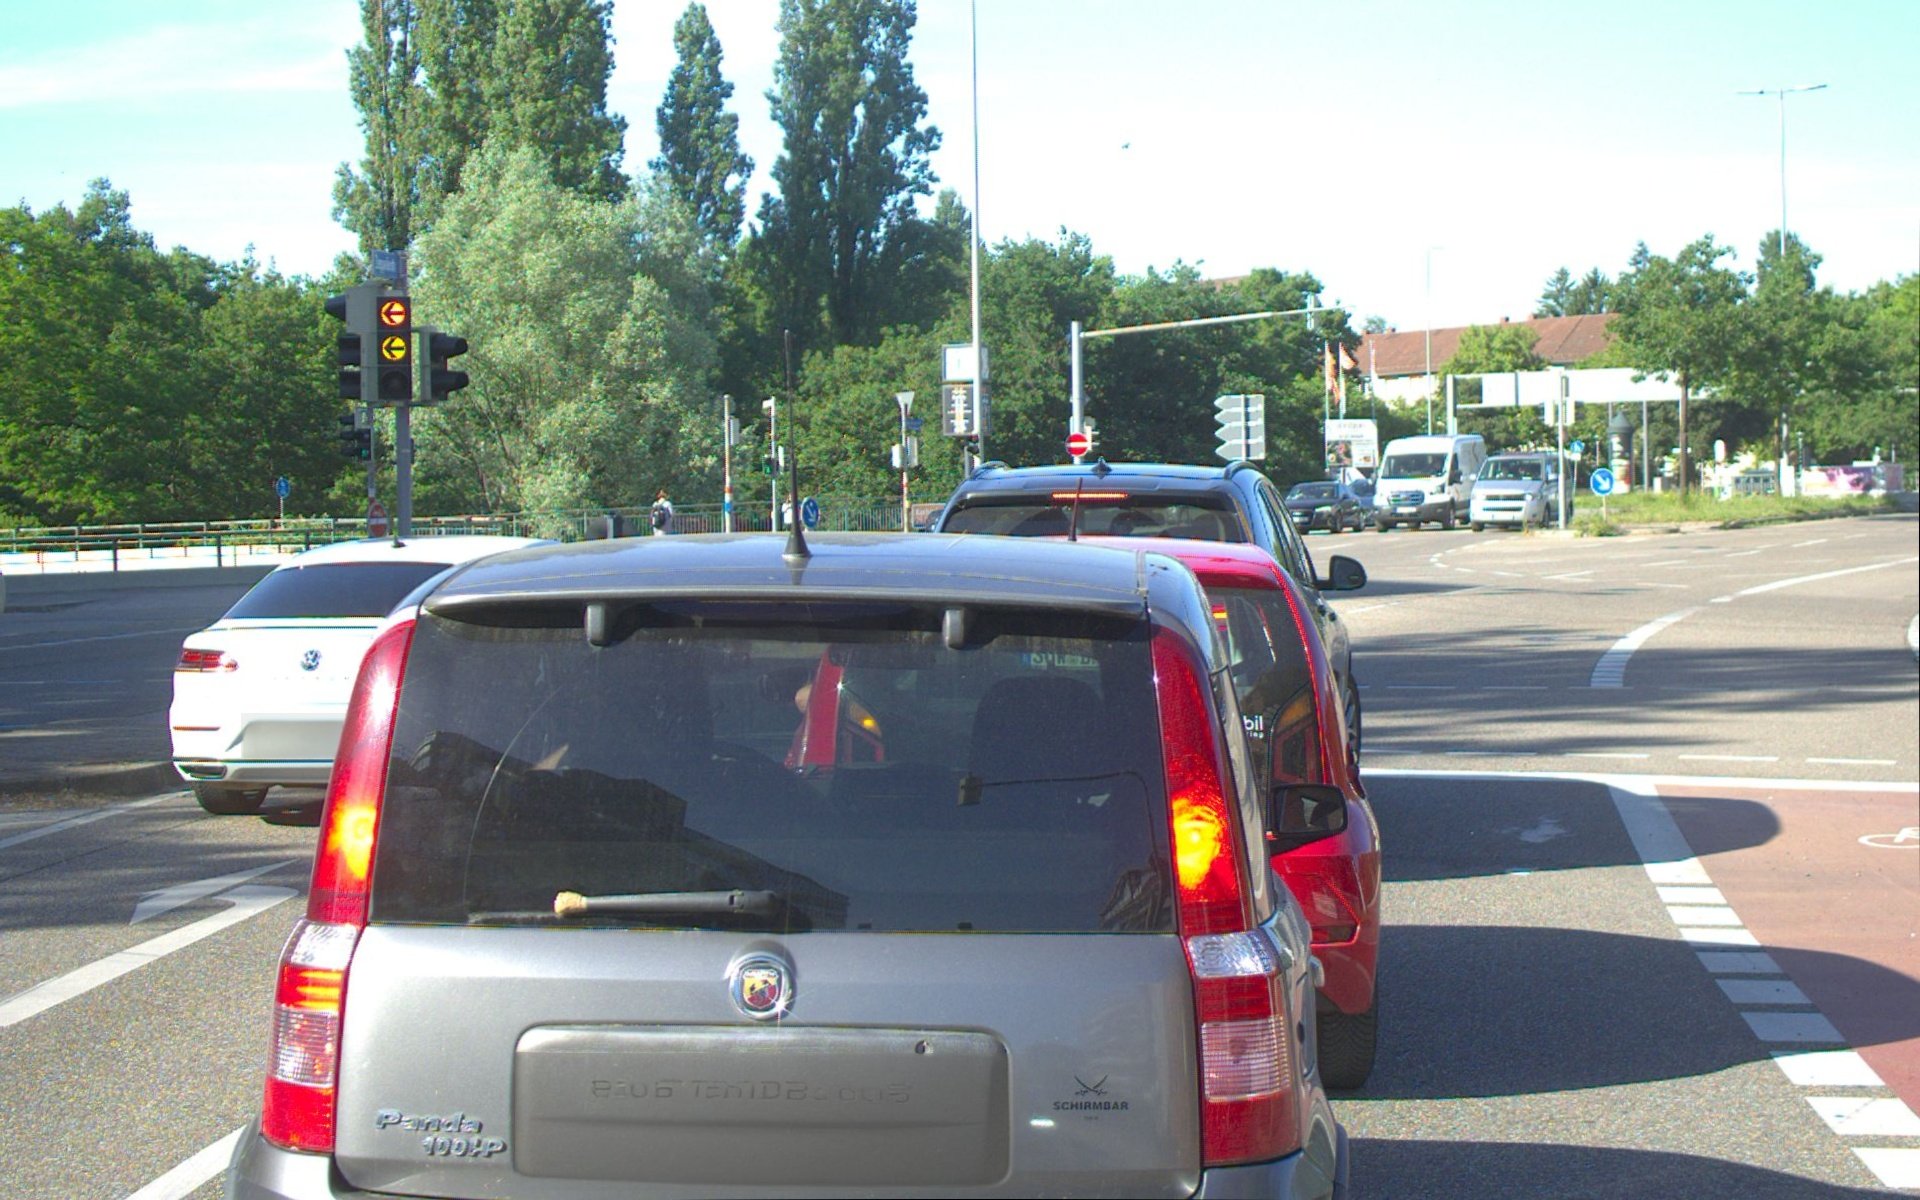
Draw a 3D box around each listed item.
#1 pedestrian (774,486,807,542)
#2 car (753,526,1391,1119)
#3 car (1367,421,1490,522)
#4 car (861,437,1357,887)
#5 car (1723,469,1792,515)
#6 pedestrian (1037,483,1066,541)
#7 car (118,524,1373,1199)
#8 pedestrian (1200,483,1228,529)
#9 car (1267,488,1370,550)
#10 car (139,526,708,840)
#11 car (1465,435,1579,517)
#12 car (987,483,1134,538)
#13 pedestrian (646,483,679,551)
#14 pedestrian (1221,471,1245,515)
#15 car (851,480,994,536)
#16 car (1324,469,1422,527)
[{"bbox_3d":[-4.786,-2.423,97.185,0.709,1.542,0.729,-2,0,-16],"label":"pedestrian"},{"bbox_3d":[0.439,0.538,10.687,1.618,1.458,3.750,-1,2,5],"label":"car"},{"bbox_3d":[12.417,-3.406,90.747,1.938,2.567,6.083,0,2,20],"label":"car"},{"bbox_3d":[0.842,0.190,16.181,1.946,1.833,4.152,-1,2,8],"label":"car"},{"bbox_3d":[29.445,-3.992,126.879,1.938,1.616,4.502,0,2,20],"label":"car"},{"bbox_3d":[2.440,-2.349,91.788,0.556,1.542,0.576,-2,1,-16],"label":"pedestrian"},{"bbox_3d":[-0.122,0.654,6.342,1.618,1.510,3.819,-1,2,5],"label":"car"},{"bbox_3d":[9.262,-3.421,125.384,0.791,1.658,0.628,1,1,40],"label":"pedestrian"},{"bbox_3d":[9.599,-2.180,91.756,1.938,1.502,3.997,-2,2,17],"label":"car"},{"bbox_3d":[-2.712,0.347,18.435,1.781,1.410,4.318,0,2,9],"label":"car"},{"bbox_3d":[14.214,-3.141,86.762,1.938,2.001,4.927,0,2,20],"label":"car"},{"bbox_3d":[3.000,-2.666,102.024,4.317,1.530,1.784,-3,4,-41],"label":"car"},{"bbox_3d":[-6.482,-1.807,74.803,0.679,1.458,0.703,-1,2,-6],"label":"pedestrian"},{"bbox_3d":[10.282,-4.013,129.476,0.721,1.635,0.671,1,0,25],"label":"pedestrian"},{"bbox_3d":[-1.135,-2.783,104.751,3.988,1.619,1.900,0,1,-38],"label":"car"},{"bbox_3d":[11.836,-2.935,98.346,1.812,1.536,4.613,-2,2,19],"label":"car"}]
